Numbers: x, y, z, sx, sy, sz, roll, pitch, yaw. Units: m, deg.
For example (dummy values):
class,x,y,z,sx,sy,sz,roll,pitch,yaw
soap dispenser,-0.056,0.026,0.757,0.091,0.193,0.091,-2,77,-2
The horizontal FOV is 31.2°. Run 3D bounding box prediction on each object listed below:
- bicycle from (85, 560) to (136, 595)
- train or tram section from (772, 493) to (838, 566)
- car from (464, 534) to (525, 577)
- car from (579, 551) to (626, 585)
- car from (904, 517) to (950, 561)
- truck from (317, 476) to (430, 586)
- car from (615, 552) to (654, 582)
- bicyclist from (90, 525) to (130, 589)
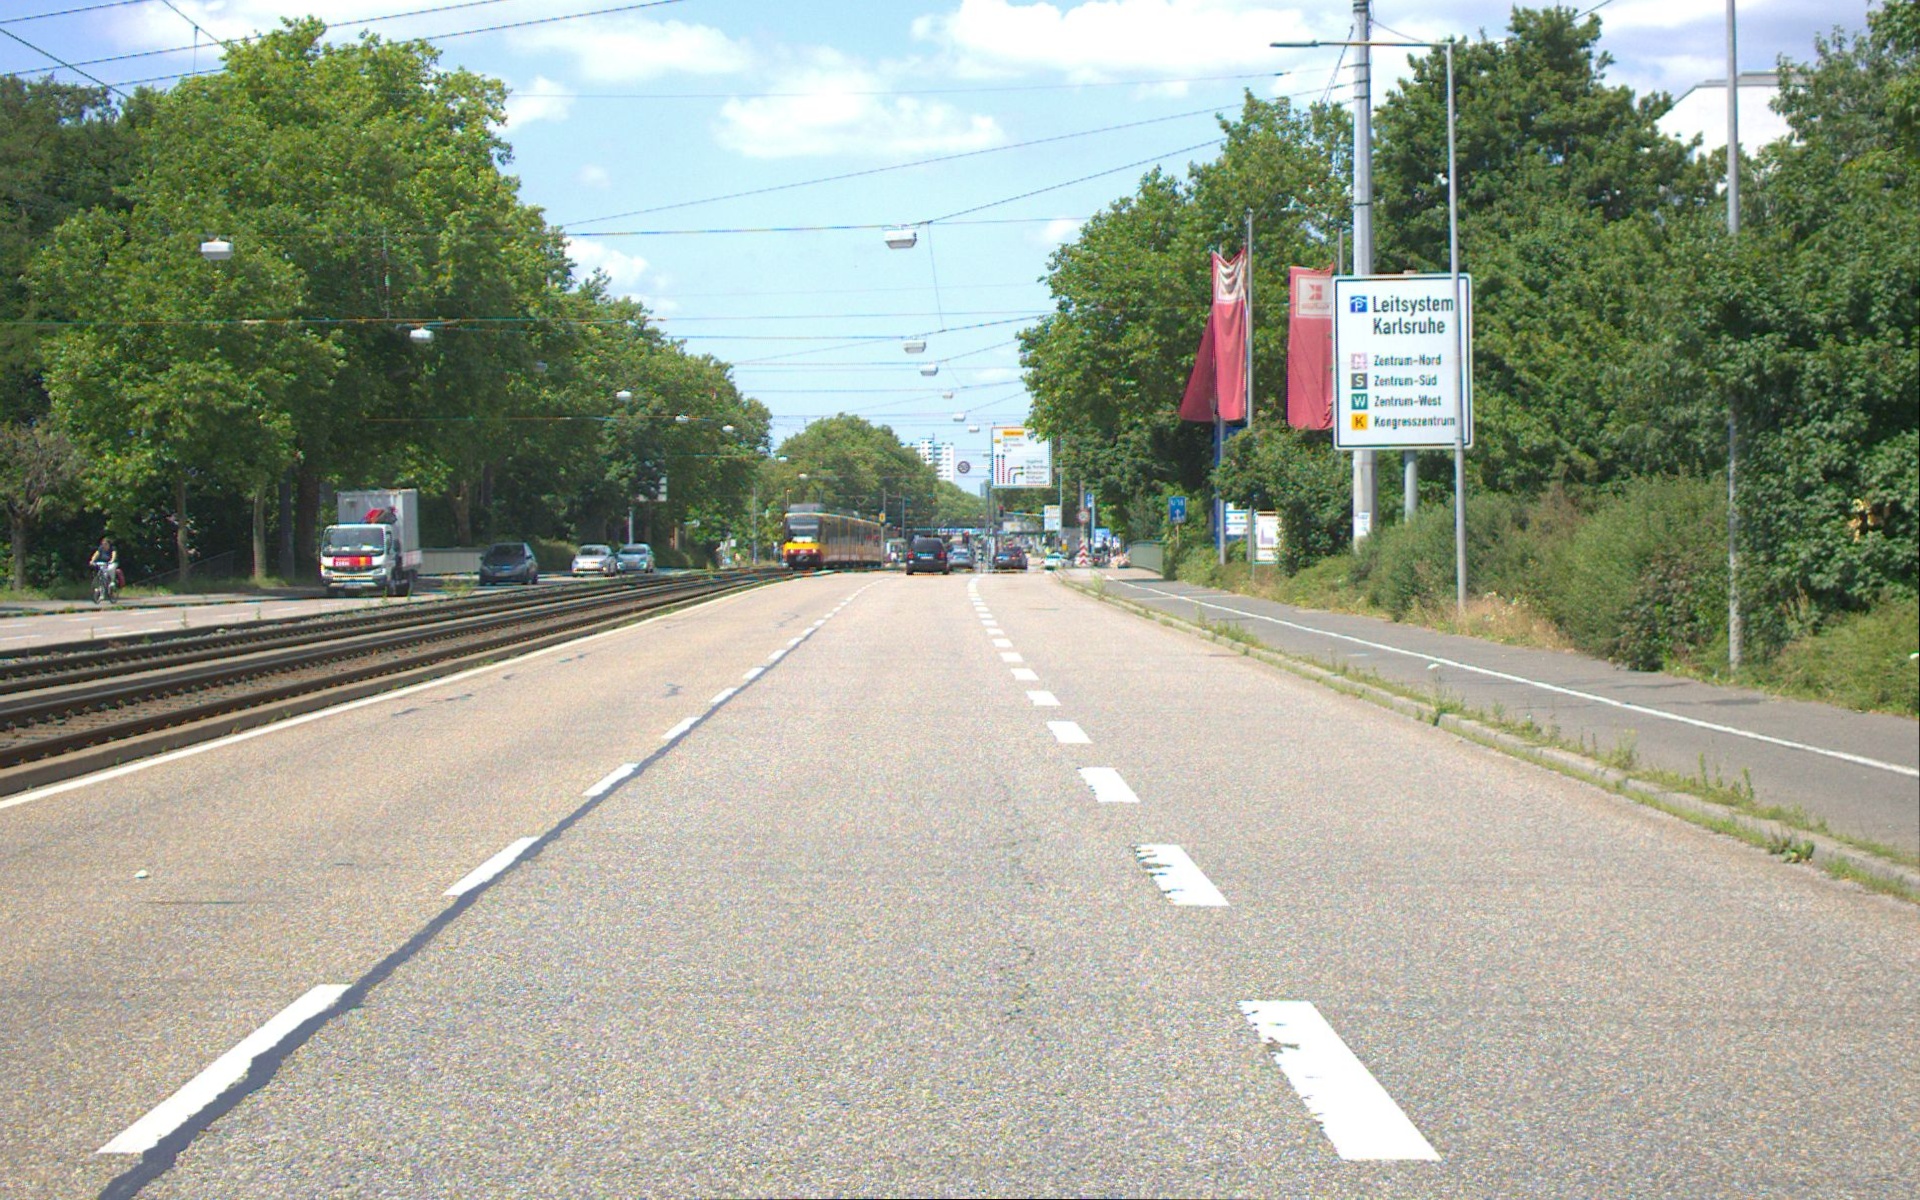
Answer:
class,x,y,z,sx,sy,sz,roll,pitch,yaw
bicycle,-21.989,-0.584,89.011,0.651,0.856,2.120,2,1,4
train or tram section,-9.317,-4.253,208.618,3.048,4.252,15.423,0,1,1
car,-17.109,-1.650,126.372,1.752,1.530,3.957,-1,1,-1
car,-16.063,-1.442,154.521,1.636,1.417,4.127,-1,1,0
car,-1.421,-2.590,147.304,1.899,1.799,3.977,2,1,-1
truck,-17.700,-2.081,104.101,2.250,3.225,6.042,0,1,1
car,-16.367,-1.682,172.771,1.636,1.431,3.722,-2,1,-1
bicyclist,-21.975,-1.115,88.918,0.651,1.614,1.155,2,1,3
